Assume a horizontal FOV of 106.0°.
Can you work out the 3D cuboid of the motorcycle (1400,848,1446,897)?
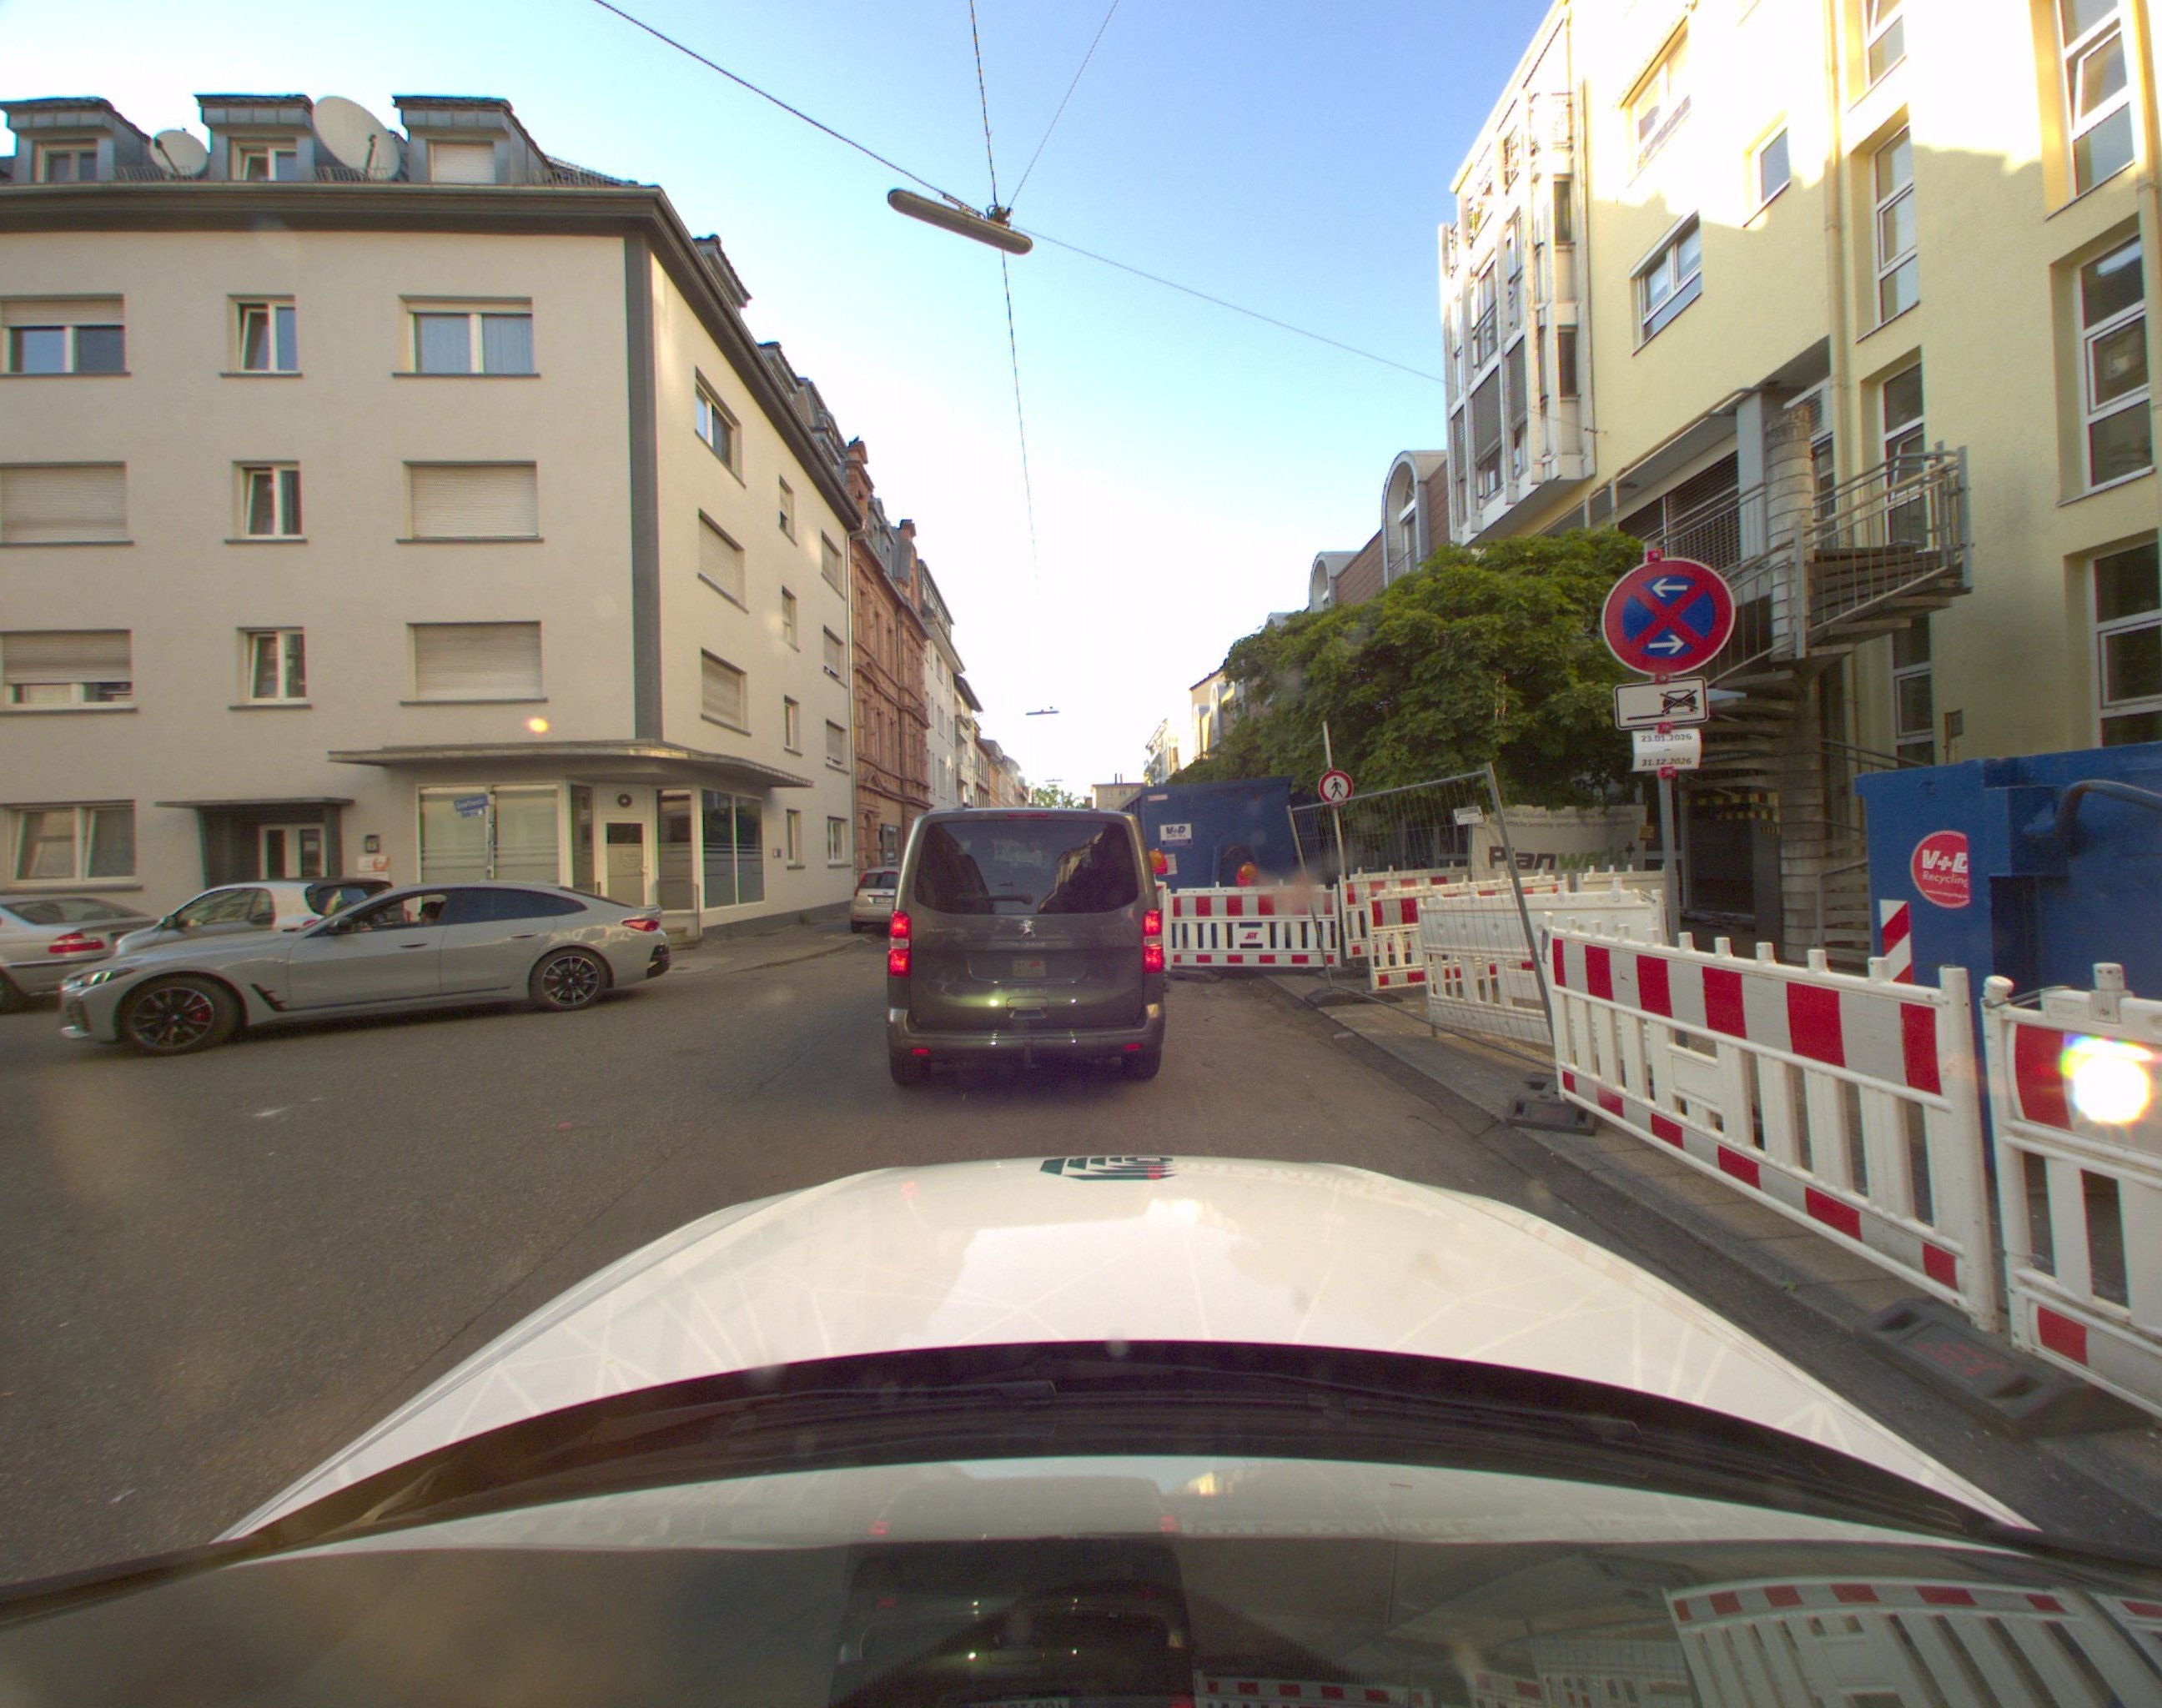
[{"bbox_3d":[9.228,0.474,22.044,0.863,1.222,2.468,-3,-1,17],"label":"motorcycle"}]

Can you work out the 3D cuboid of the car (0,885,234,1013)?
[{"bbox_3d":[-14.396,1.224,10.753,4.238,1.453,1.967,-1,0,-2],"label":"car"}]

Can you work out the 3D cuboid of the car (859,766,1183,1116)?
[{"bbox_3d":[-0.406,0.525,6.970,1.853,2.013,3.997,-4,0,-2],"label":"car"}]

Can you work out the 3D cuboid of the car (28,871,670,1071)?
[{"bbox_3d":[-7.191,0.991,8.777,4.684,1.486,1.978,-1,0,-36],"label":"car"}]

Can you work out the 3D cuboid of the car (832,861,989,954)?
[{"bbox_3d":[-3.090,0.914,15.663,1.986,1.486,4.002,-1,0,2],"label":"car"}]

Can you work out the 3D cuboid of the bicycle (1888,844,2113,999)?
[{"bbox_3d":[8.004,0.551,7.101,1.646,1.268,0.547,0,-1,-12],"label":"bicycle"}]

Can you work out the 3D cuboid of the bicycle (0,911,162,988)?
[{"bbox_3d":[-16.013,1.511,12.985,2.046,1.137,0.488,0,-1,-4],"label":"bicycle"}]

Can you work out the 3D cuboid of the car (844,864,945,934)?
[{"bbox_3d":[-4.255,0.971,19.044,1.628,1.430,3.552,-1,0,-2],"label":"car"}]

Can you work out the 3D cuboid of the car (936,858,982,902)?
[{"bbox_3d":[-4.637,0.969,31.252,1.392,1.588,2.792,-1,0,-2],"label":"car"}]

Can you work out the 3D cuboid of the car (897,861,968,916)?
[{"bbox_3d":[-4.416,0.992,24.580,1.551,1.508,3.595,1,0,-2],"label":"car"}]

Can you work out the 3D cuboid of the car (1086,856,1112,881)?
[{"bbox_3d":[1.300,1.024,57.807,1.742,1.683,4.526,-1,0,1],"label":"car"}]

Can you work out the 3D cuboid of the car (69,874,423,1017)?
[{"bbox_3d":[-10.433,1.093,10.354,2.746,1.566,1.648,-1,0,-1],"label":"car"}]
